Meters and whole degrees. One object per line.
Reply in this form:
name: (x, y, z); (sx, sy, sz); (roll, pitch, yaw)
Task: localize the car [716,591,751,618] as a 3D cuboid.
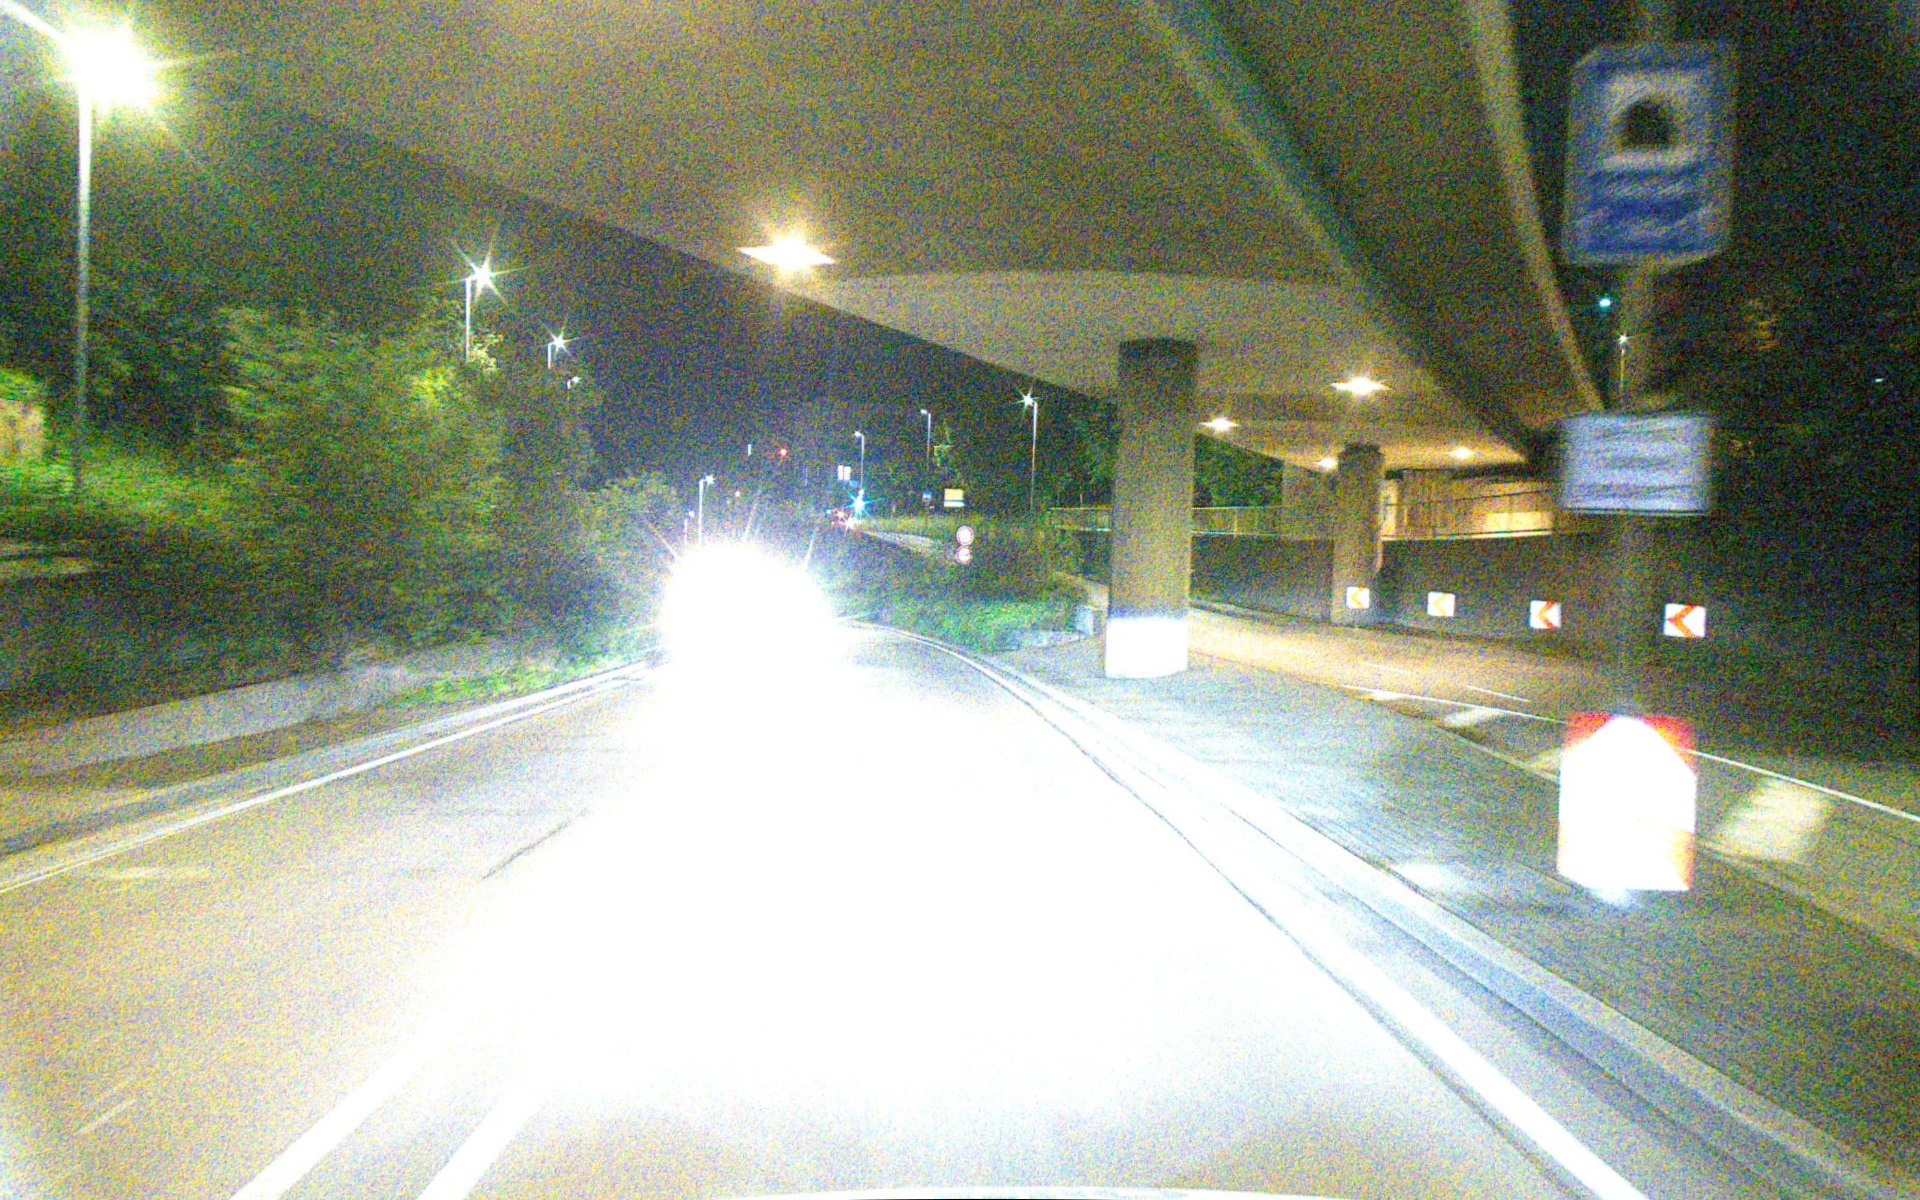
car: (-13.349, 0.247, 97.268); (1.826, 1.536, 3.989); (0, 0, -11)

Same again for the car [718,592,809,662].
car: (-4.473, 0.626, 38.134); (1.752, 1.473, 4.169); (2, -1, -3)
